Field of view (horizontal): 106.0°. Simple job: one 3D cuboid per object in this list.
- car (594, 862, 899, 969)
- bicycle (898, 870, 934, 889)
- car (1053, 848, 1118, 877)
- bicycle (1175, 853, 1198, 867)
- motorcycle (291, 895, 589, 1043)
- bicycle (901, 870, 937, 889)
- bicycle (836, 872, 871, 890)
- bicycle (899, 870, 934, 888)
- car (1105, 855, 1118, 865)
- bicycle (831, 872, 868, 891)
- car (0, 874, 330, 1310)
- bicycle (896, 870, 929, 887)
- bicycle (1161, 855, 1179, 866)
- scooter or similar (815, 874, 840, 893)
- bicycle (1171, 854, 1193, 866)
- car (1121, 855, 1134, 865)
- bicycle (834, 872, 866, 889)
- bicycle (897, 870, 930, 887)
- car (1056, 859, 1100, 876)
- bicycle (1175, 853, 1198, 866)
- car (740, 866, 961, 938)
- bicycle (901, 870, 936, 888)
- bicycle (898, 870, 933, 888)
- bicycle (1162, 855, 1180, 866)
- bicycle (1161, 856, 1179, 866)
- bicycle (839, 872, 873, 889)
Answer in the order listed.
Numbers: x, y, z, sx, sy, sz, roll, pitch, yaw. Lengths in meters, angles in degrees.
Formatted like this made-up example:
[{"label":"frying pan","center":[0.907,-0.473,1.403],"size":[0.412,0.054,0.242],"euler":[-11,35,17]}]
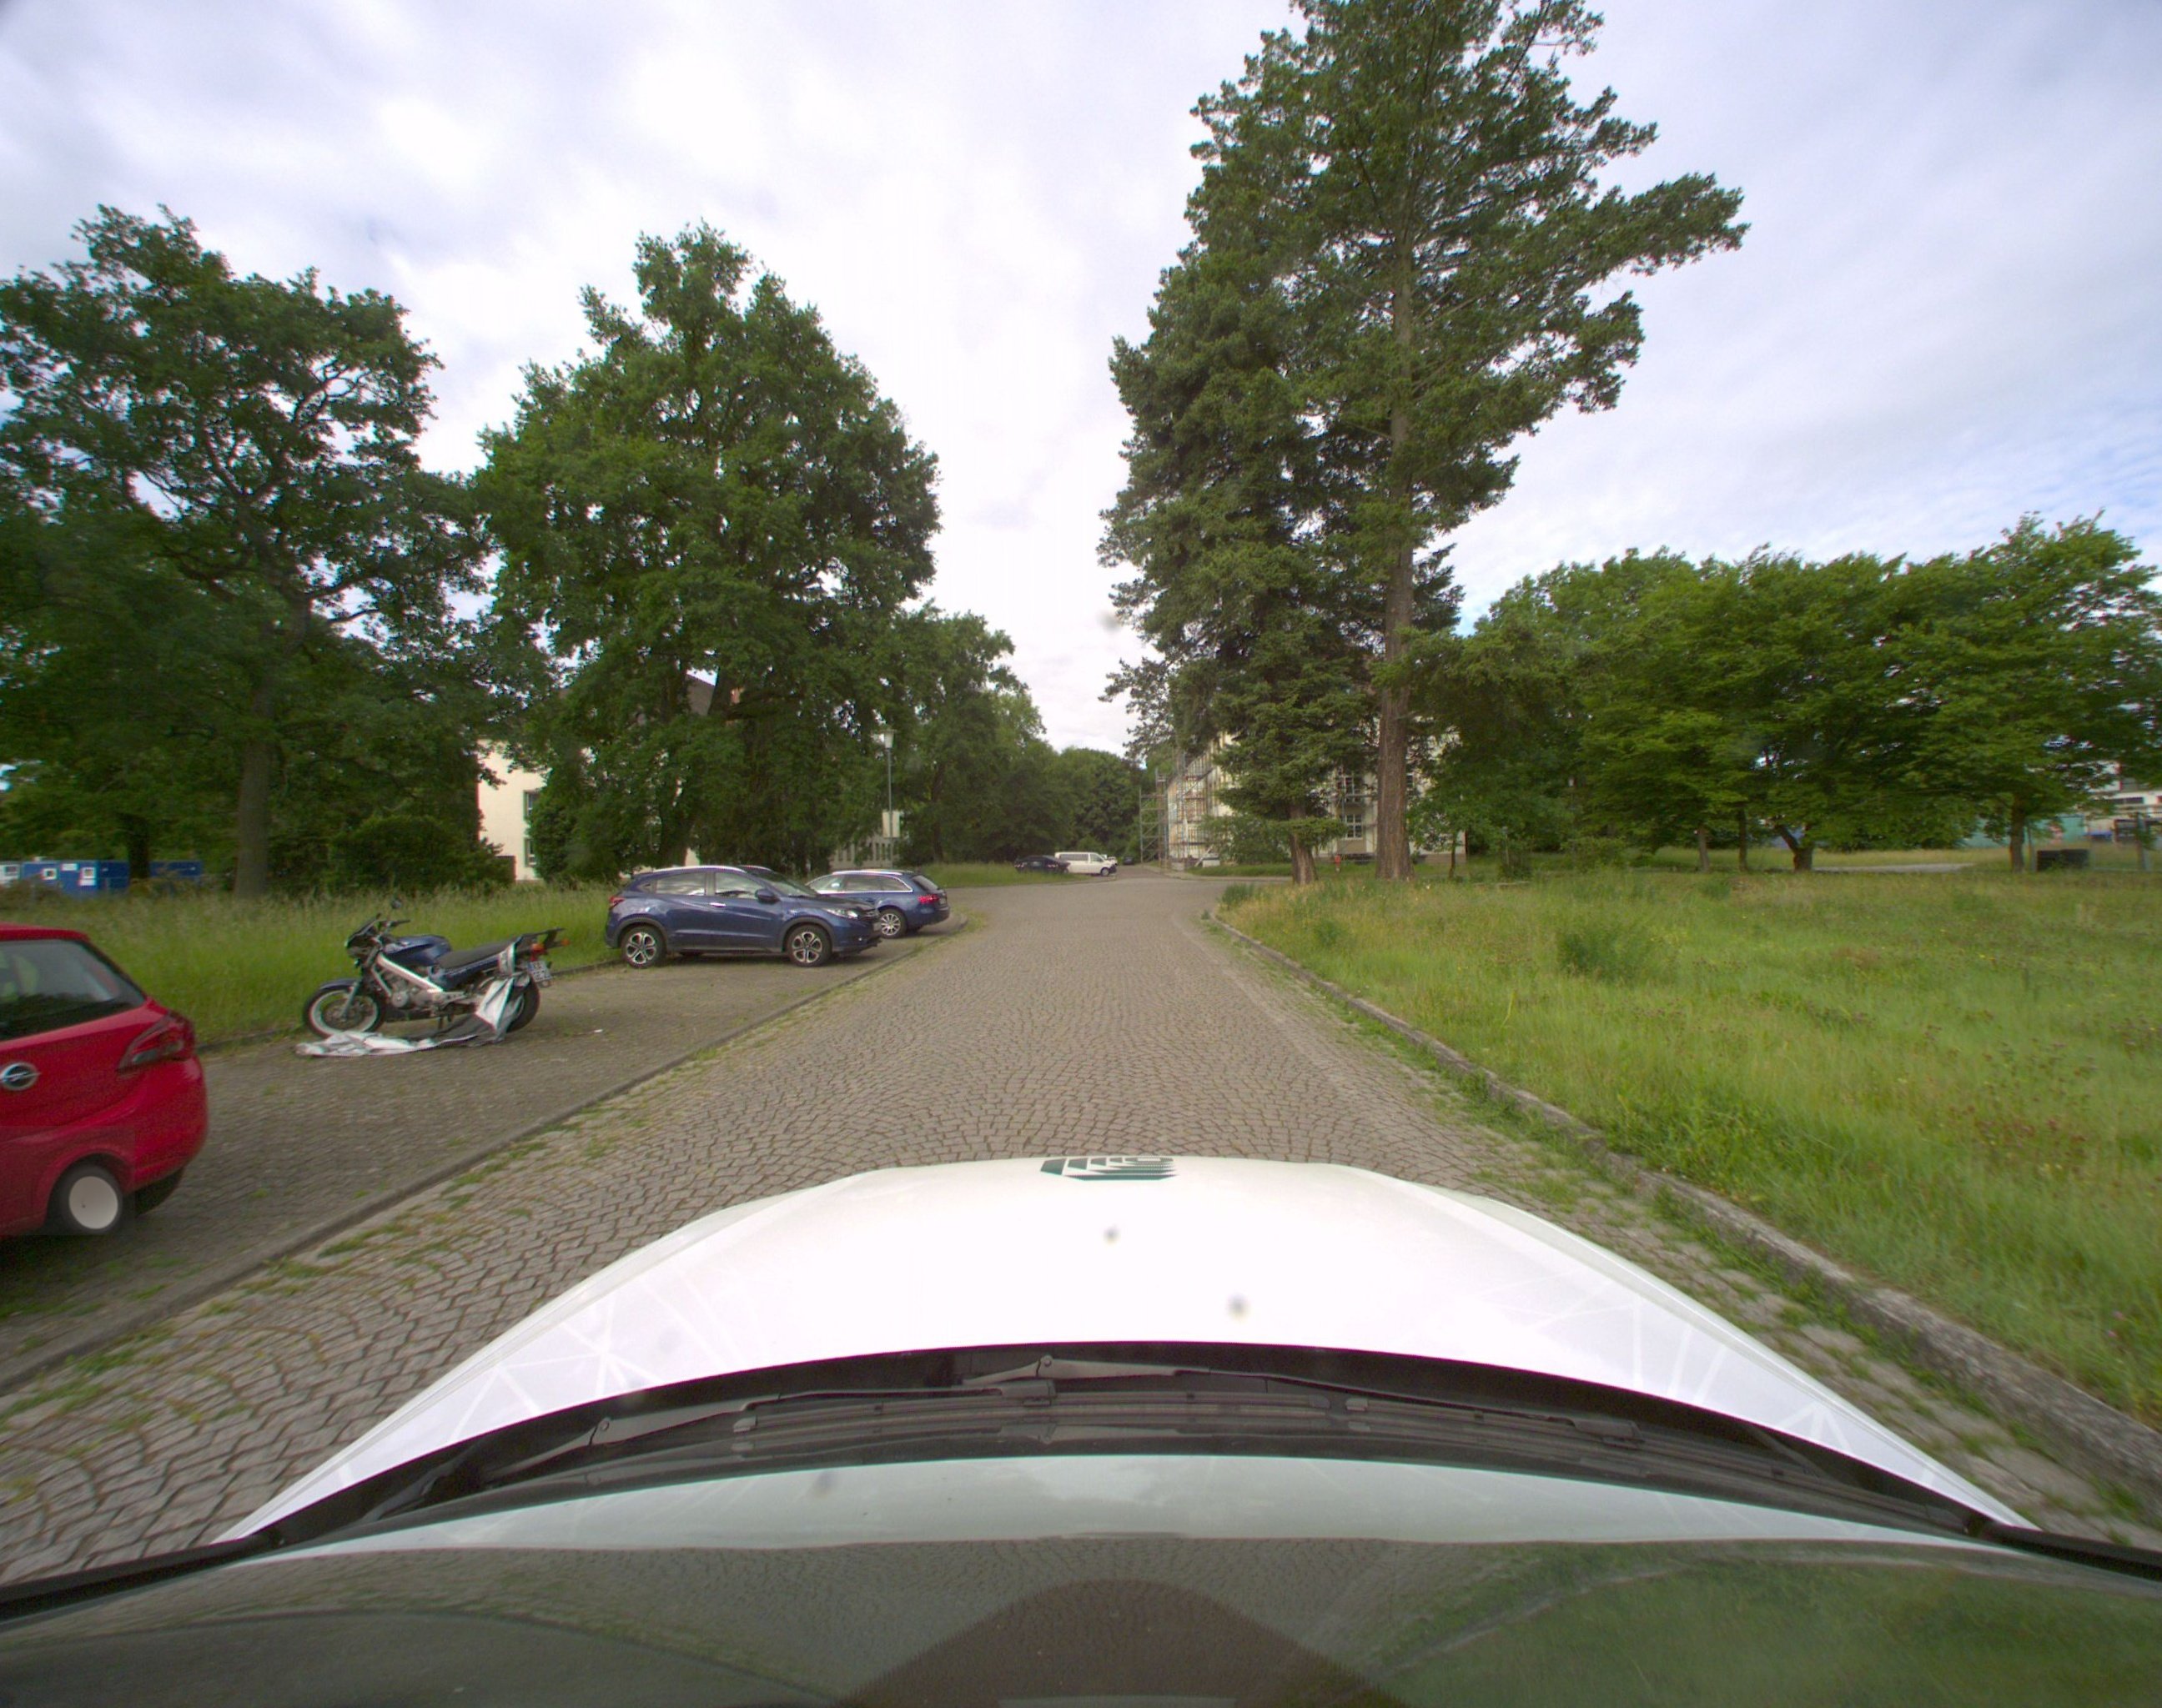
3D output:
[{"label":"car","center":[-5.332,0.944,13.416],"size":[4.214,1.577,1.887],"euler":[-1,0,0]},{"label":"bicycle","center":[-9.458,1.461,46.731],"size":[1.963,0.989,0.623],"euler":[-2,-1,-19]},{"label":"car","center":[0.398,0.703,66.901],"size":[5.219,2.168,1.999],"euler":[-2,0,-1]},{"label":"bicycle","center":[10.307,0.567,79.657],"size":[2.230,1.254,0.778],"euler":[-2,-1,3]},{"label":"motorcycle","center":[-5.987,1.053,7.683],"size":[2.265,1.291,0.719],"euler":[0,0,2]},{"label":"bicycle","center":[-9.411,1.467,47.355],"size":[1.965,0.989,0.622],"euler":[-2,-1,-21]},{"label":"bicycle","center":[-13.771,1.640,49.290],"size":[1.967,0.989,0.622],"euler":[-2,-1,-25]},{"label":"bicycle","center":[-9.911,1.504,48.964],"size":[1.965,0.989,0.622],"euler":[-2,-1,-21]},{"label":"car","center":[4.954,1.025,132.837],"size":[2.111,1.522,4.000],"euler":[-2,0,1]},{"label":"bicycle","center":[-13.383,1.599,47.083],"size":[1.967,0.989,0.622],"euler":[-2,-1,-25]},{"label":"car","center":[-5.895,0.925,3.204],"size":[4.042,1.525,1.905],"euler":[-2,0,0]},{"label":"bicycle","center":[-10.816,1.577,52.295],"size":[1.965,0.989,0.622],"euler":[-2,-1,-21]},{"label":"bicycle","center":[11.448,0.846,104.612],"size":[2.230,1.254,0.699],"euler":[-2,-1,3]},{"label":"scooter or similar","center":[-14.417,1.664,46.259],"size":[1.337,1.038,0.455],"euler":[-2,-1,23]},{"label":"bicycle","center":[10.396,0.618,83.914],"size":[2.230,1.254,0.778],"euler":[-2,-1,3]},{"label":"car","center":[7.630,0.936,133.077],"size":[1.944,1.522,4.000],"euler":[-2,0,0]},{"label":"bicycle","center":[-15.054,1.731,53.102],"size":[1.961,0.989,0.623],"euler":[-2,-1,-16]},{"label":"bicycle","center":[-10.515,1.552,51.162],"size":[1.965,0.989,0.622],"euler":[-2,-1,-21]},{"label":"car","center":[-0.220,1.202,72.038],"size":[3.776,1.395,2.000],"euler":[-2,-1,0]},{"label":"bicycle","center":[10.582,0.582,81.564],"size":[2.230,1.254,0.778],"euler":[-2,-1,3]},{"label":"car","center":[-5.016,1.027,18.163],"size":[4.285,1.461,1.976],"euler":[-1,0,3]},{"label":"bicycle","center":[-9.935,1.516,49.841],"size":[1.965,0.989,0.622],"euler":[-2,-1,-21]},{"label":"bicycle","center":[-9.833,1.494,48.336],"size":[1.965,0.989,0.622],"euler":[-2,-1,-21]},{"label":"bicycle","center":[11.381,0.832,103.244],"size":[2.230,1.254,0.627],"euler":[-2,-1,3]},{"label":"bicycle","center":[11.483,0.855,105.456],"size":[2.230,1.254,0.635],"euler":[-2,-1,3]},{"label":"bicycle","center":[-13.957,1.664,50.643],"size":[1.957,0.989,0.625],"euler":[-2,0,-9]}]
